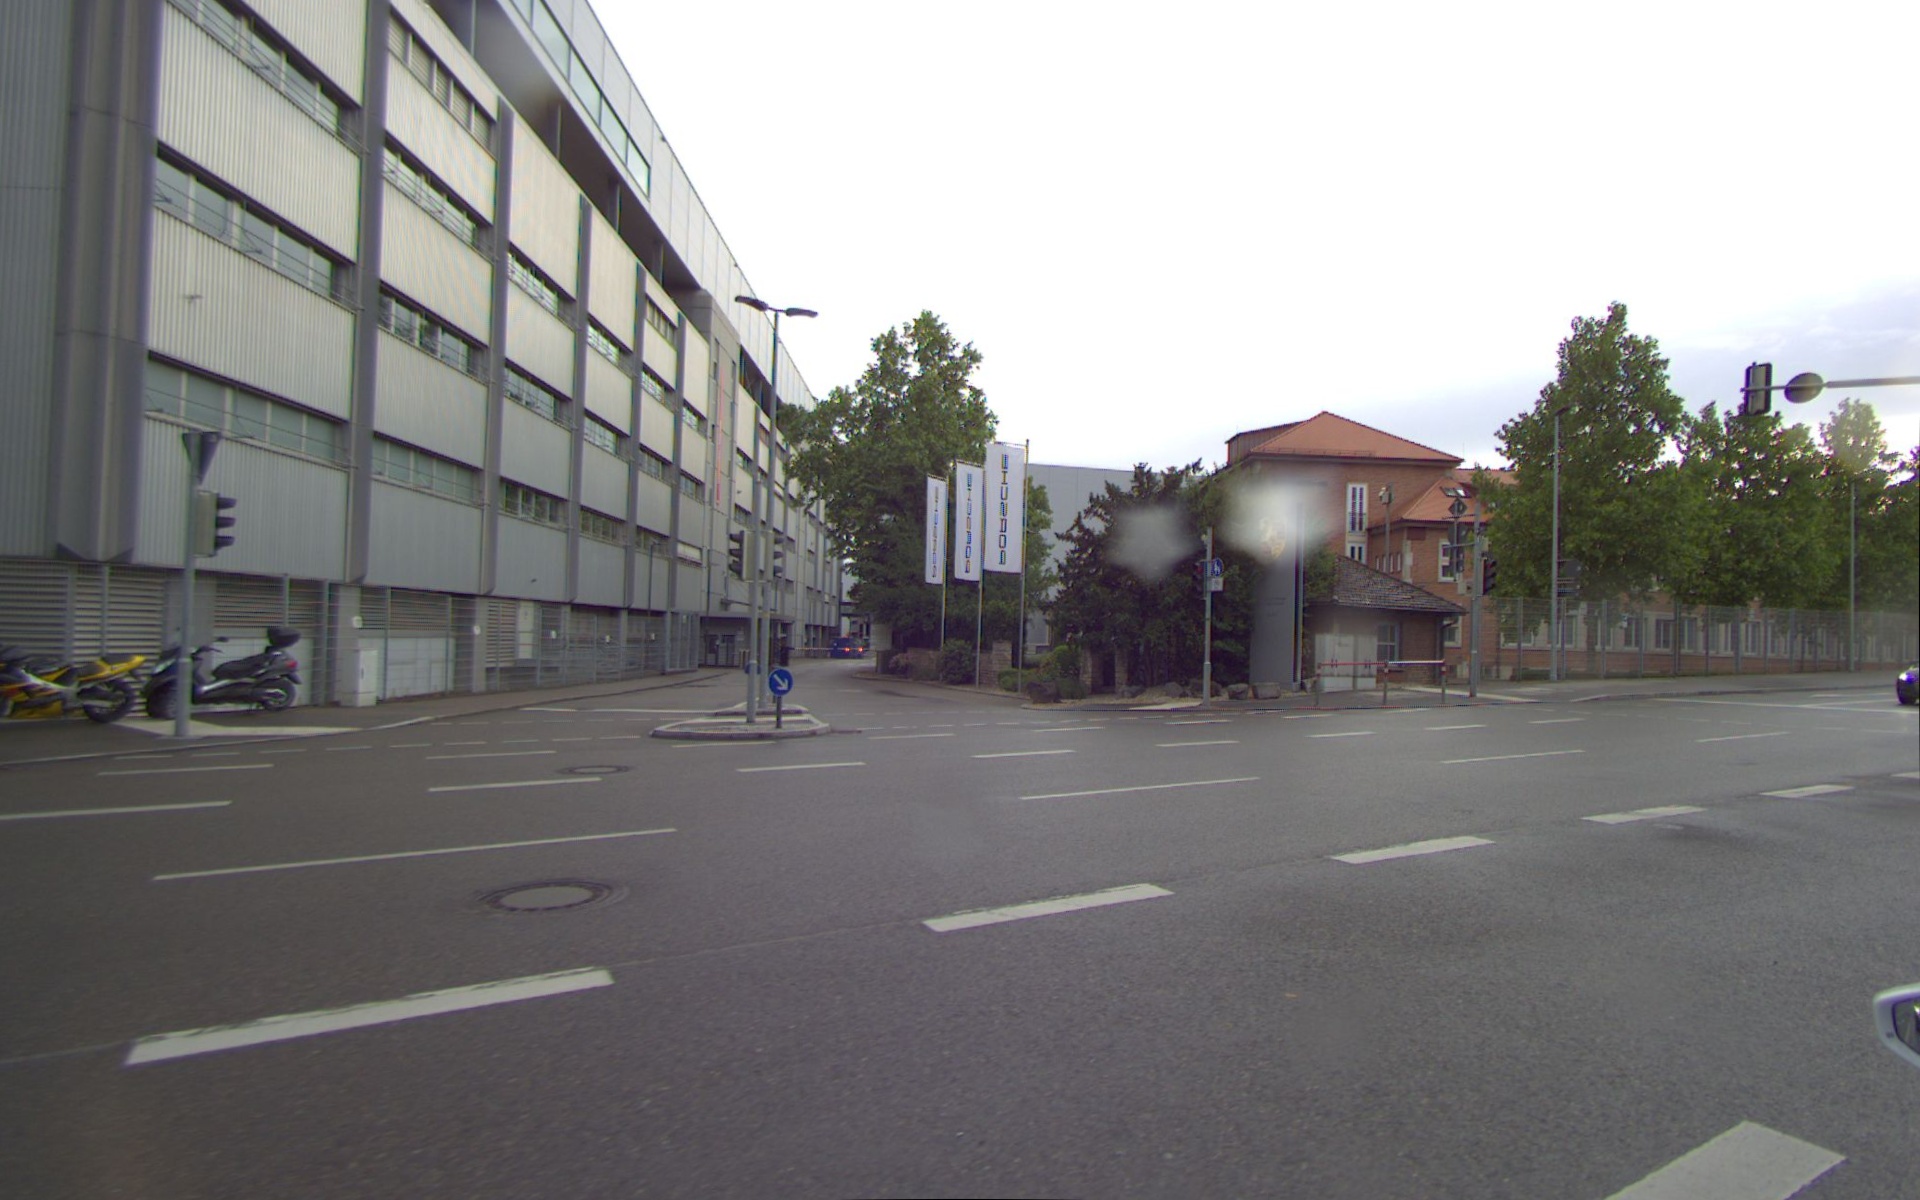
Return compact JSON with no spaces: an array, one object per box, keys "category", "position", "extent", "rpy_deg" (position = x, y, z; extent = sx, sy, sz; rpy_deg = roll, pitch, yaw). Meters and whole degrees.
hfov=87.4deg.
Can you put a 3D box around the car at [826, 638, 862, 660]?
[{"category":"car","position":[-14.513,6.156,125.648],"extent":[4.308,2.753,1.998],"rpy_deg":[1,-2,-7]}]

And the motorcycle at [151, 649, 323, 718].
[{"category":"motorcycle","position":[-11.578,1.308,16.177],"extent":[0.616,1.040,2.166],"rpy_deg":[-1,-3,32]}]

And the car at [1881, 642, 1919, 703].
[{"category":"car","position":[24.517,1.749,24.526],"extent":[4.561,1.422,1.765],"rpy_deg":[2,-3,-31]}]

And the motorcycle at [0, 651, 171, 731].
[{"category":"motorcycle","position":[-12.588,1.250,14.228],"extent":[0.615,1.040,2.170],"rpy_deg":[-1,-3,24]}]
